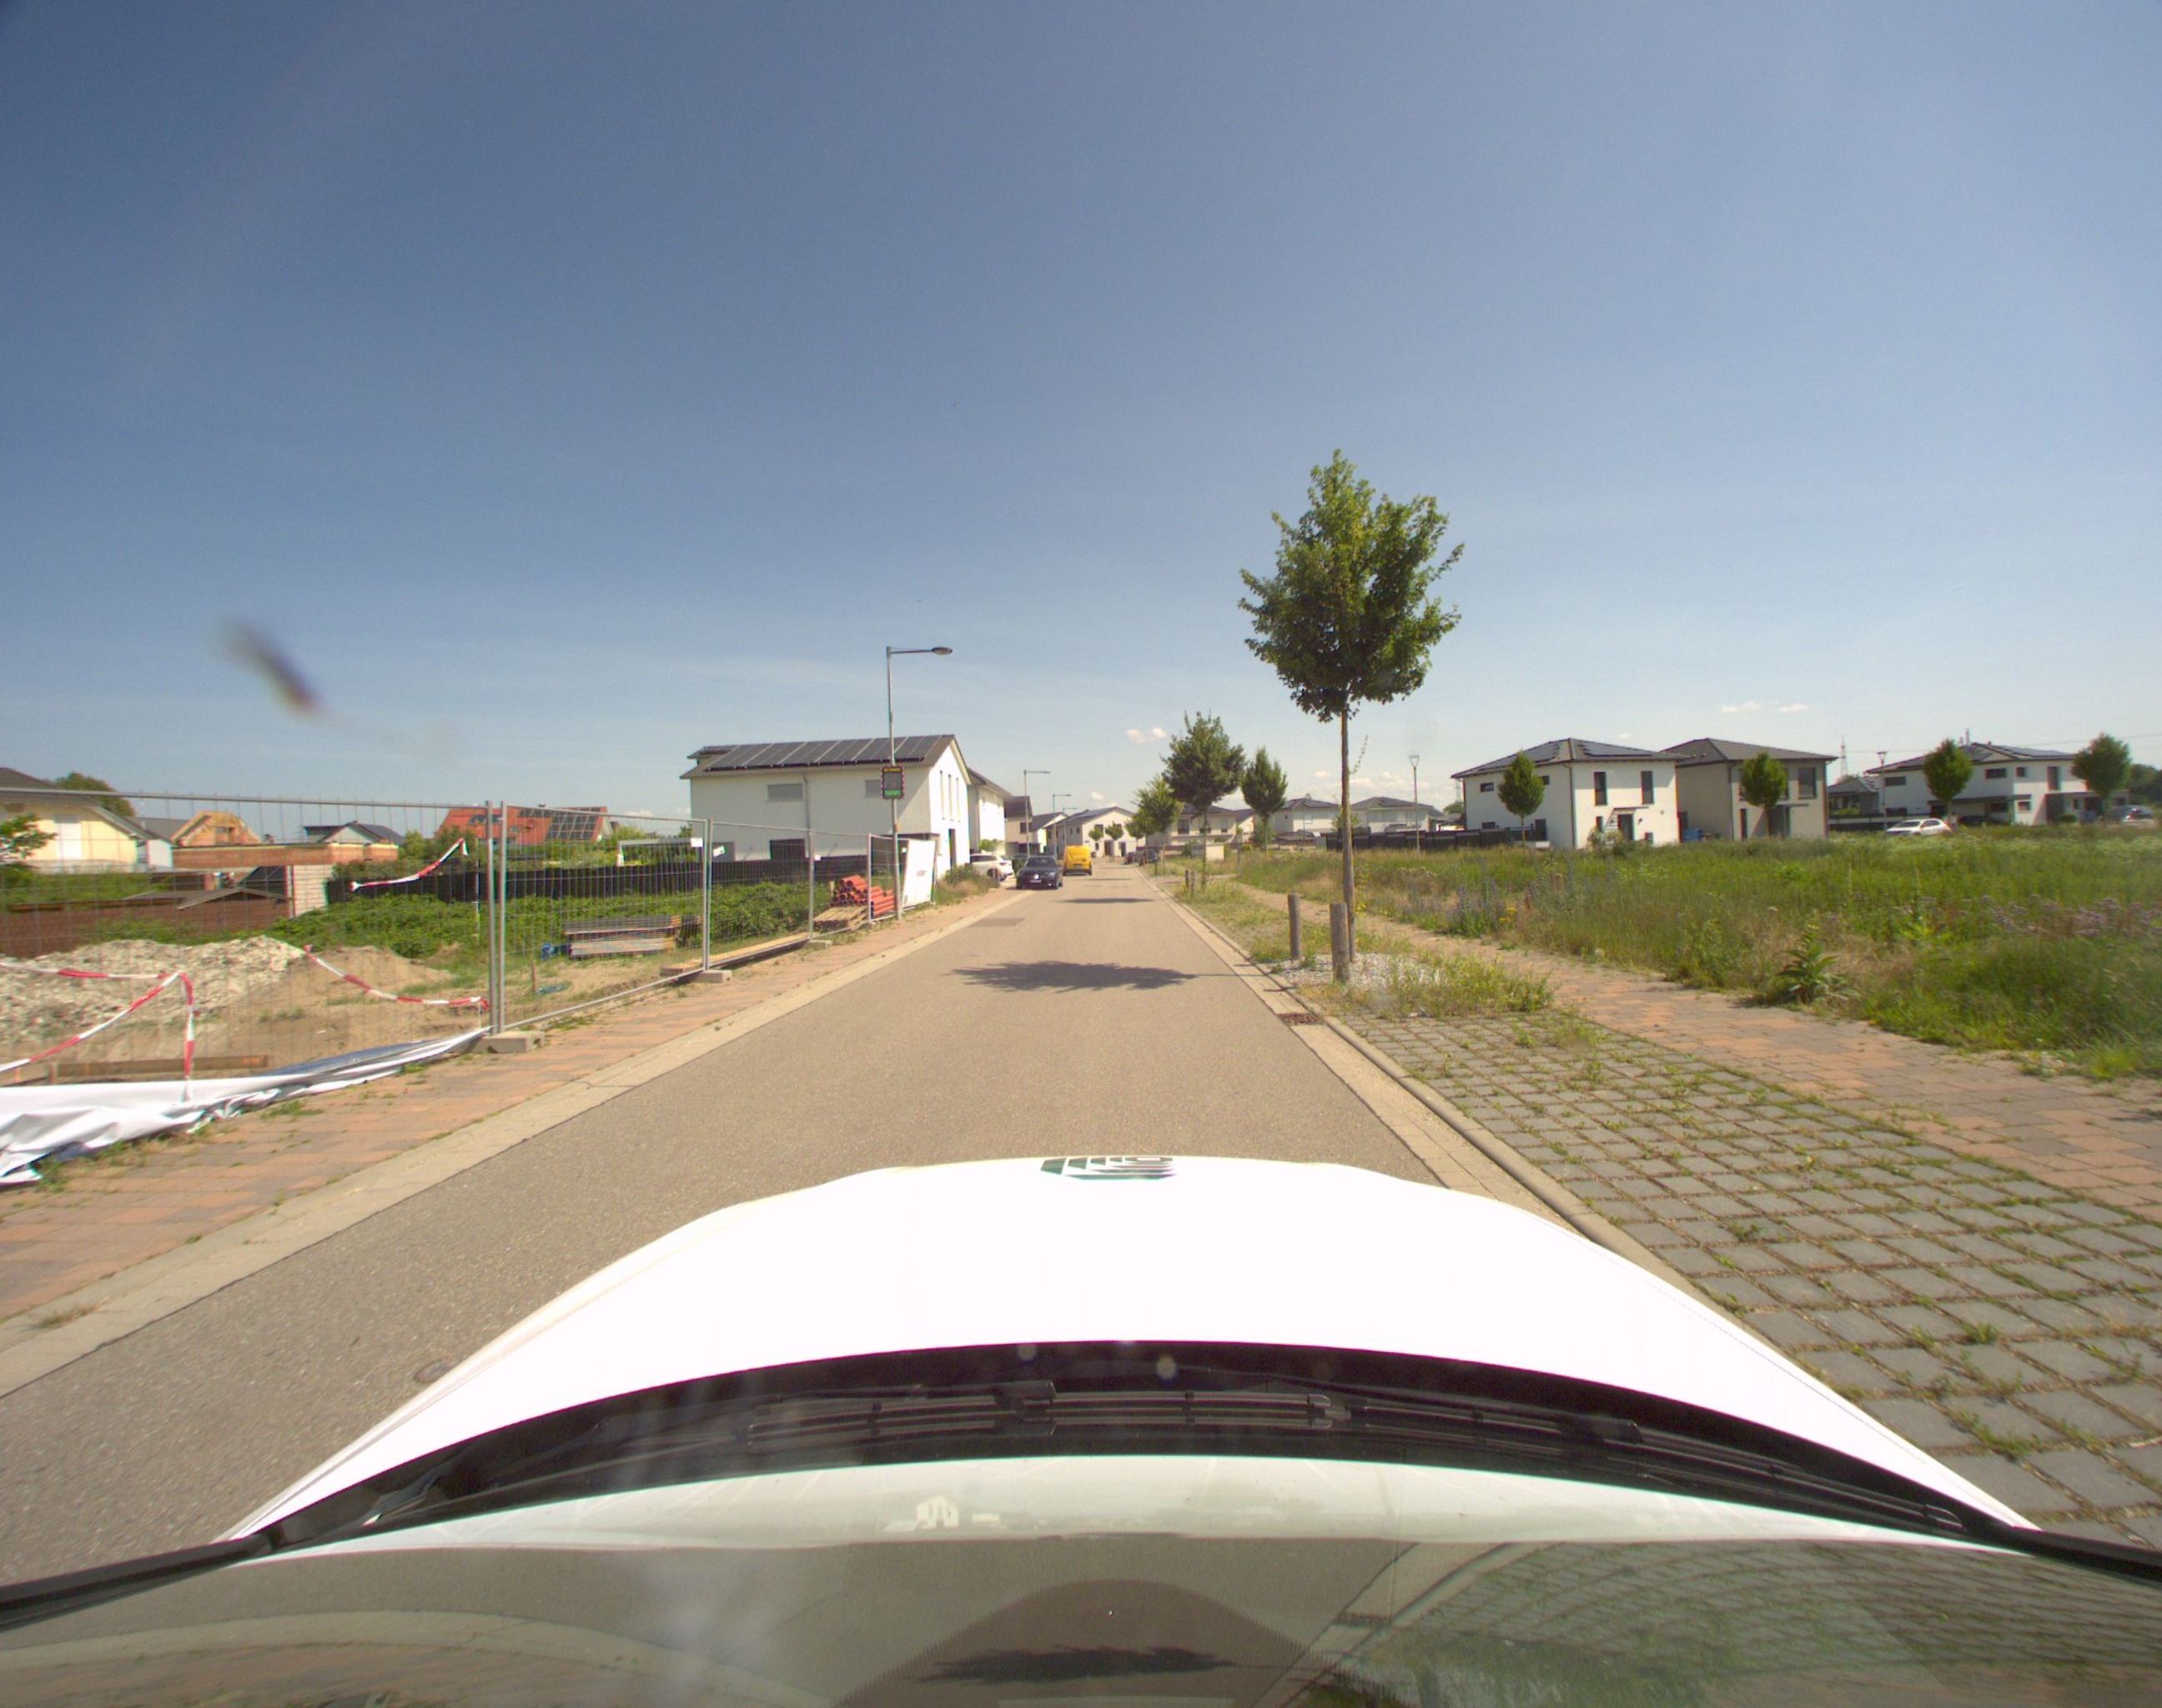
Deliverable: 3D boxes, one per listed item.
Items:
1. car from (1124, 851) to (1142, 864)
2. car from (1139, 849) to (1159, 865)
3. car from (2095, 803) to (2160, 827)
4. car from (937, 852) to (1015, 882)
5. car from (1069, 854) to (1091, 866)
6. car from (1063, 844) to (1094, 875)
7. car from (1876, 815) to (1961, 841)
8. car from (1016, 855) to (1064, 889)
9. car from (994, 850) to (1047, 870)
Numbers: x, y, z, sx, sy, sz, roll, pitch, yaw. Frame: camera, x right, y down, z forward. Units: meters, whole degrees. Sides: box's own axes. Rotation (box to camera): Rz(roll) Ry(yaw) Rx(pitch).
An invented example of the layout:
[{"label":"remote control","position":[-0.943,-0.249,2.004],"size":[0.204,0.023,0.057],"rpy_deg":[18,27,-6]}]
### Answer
[{"label":"car","position":[6.026,0.375,94.927],"size":[1.625,1.322,3.827],"rpy_deg":[-2,-2,-4]},{"label":"car","position":[6.359,0.280,76.279],"size":[1.633,1.403,3.812],"rpy_deg":[-1,-1,1]},{"label":"car","position":[85.757,-3.217,66.765],"size":[4.236,1.753,1.818],"rpy_deg":[-2,0,-16]},{"label":"car","position":[-6.030,0.734,46.958],"size":[4.046,1.581,1.788],"rpy_deg":[-1,1,8]},{"label":"car","position":[-0.178,0.866,108.333],"size":[1.996,1.431,4.679],"rpy_deg":[-2,-1,-13]},{"label":"car","position":[-0.206,0.402,56.410],"size":[1.936,1.981,4.214],"rpy_deg":[-2,-1,-1]},{"label":"car","position":[51.755,-1.586,50.336],"size":[3.989,1.398,1.743],"rpy_deg":[-2,-1,-12]},{"label":"car","position":[-1.774,0.763,36.301],"size":[1.738,1.405,4.162],"rpy_deg":[0,0,2]},{"label":"car","position":[-5.010,0.505,67.324],"size":[4.166,1.505,1.807],"rpy_deg":[2,-1,-14]}]
